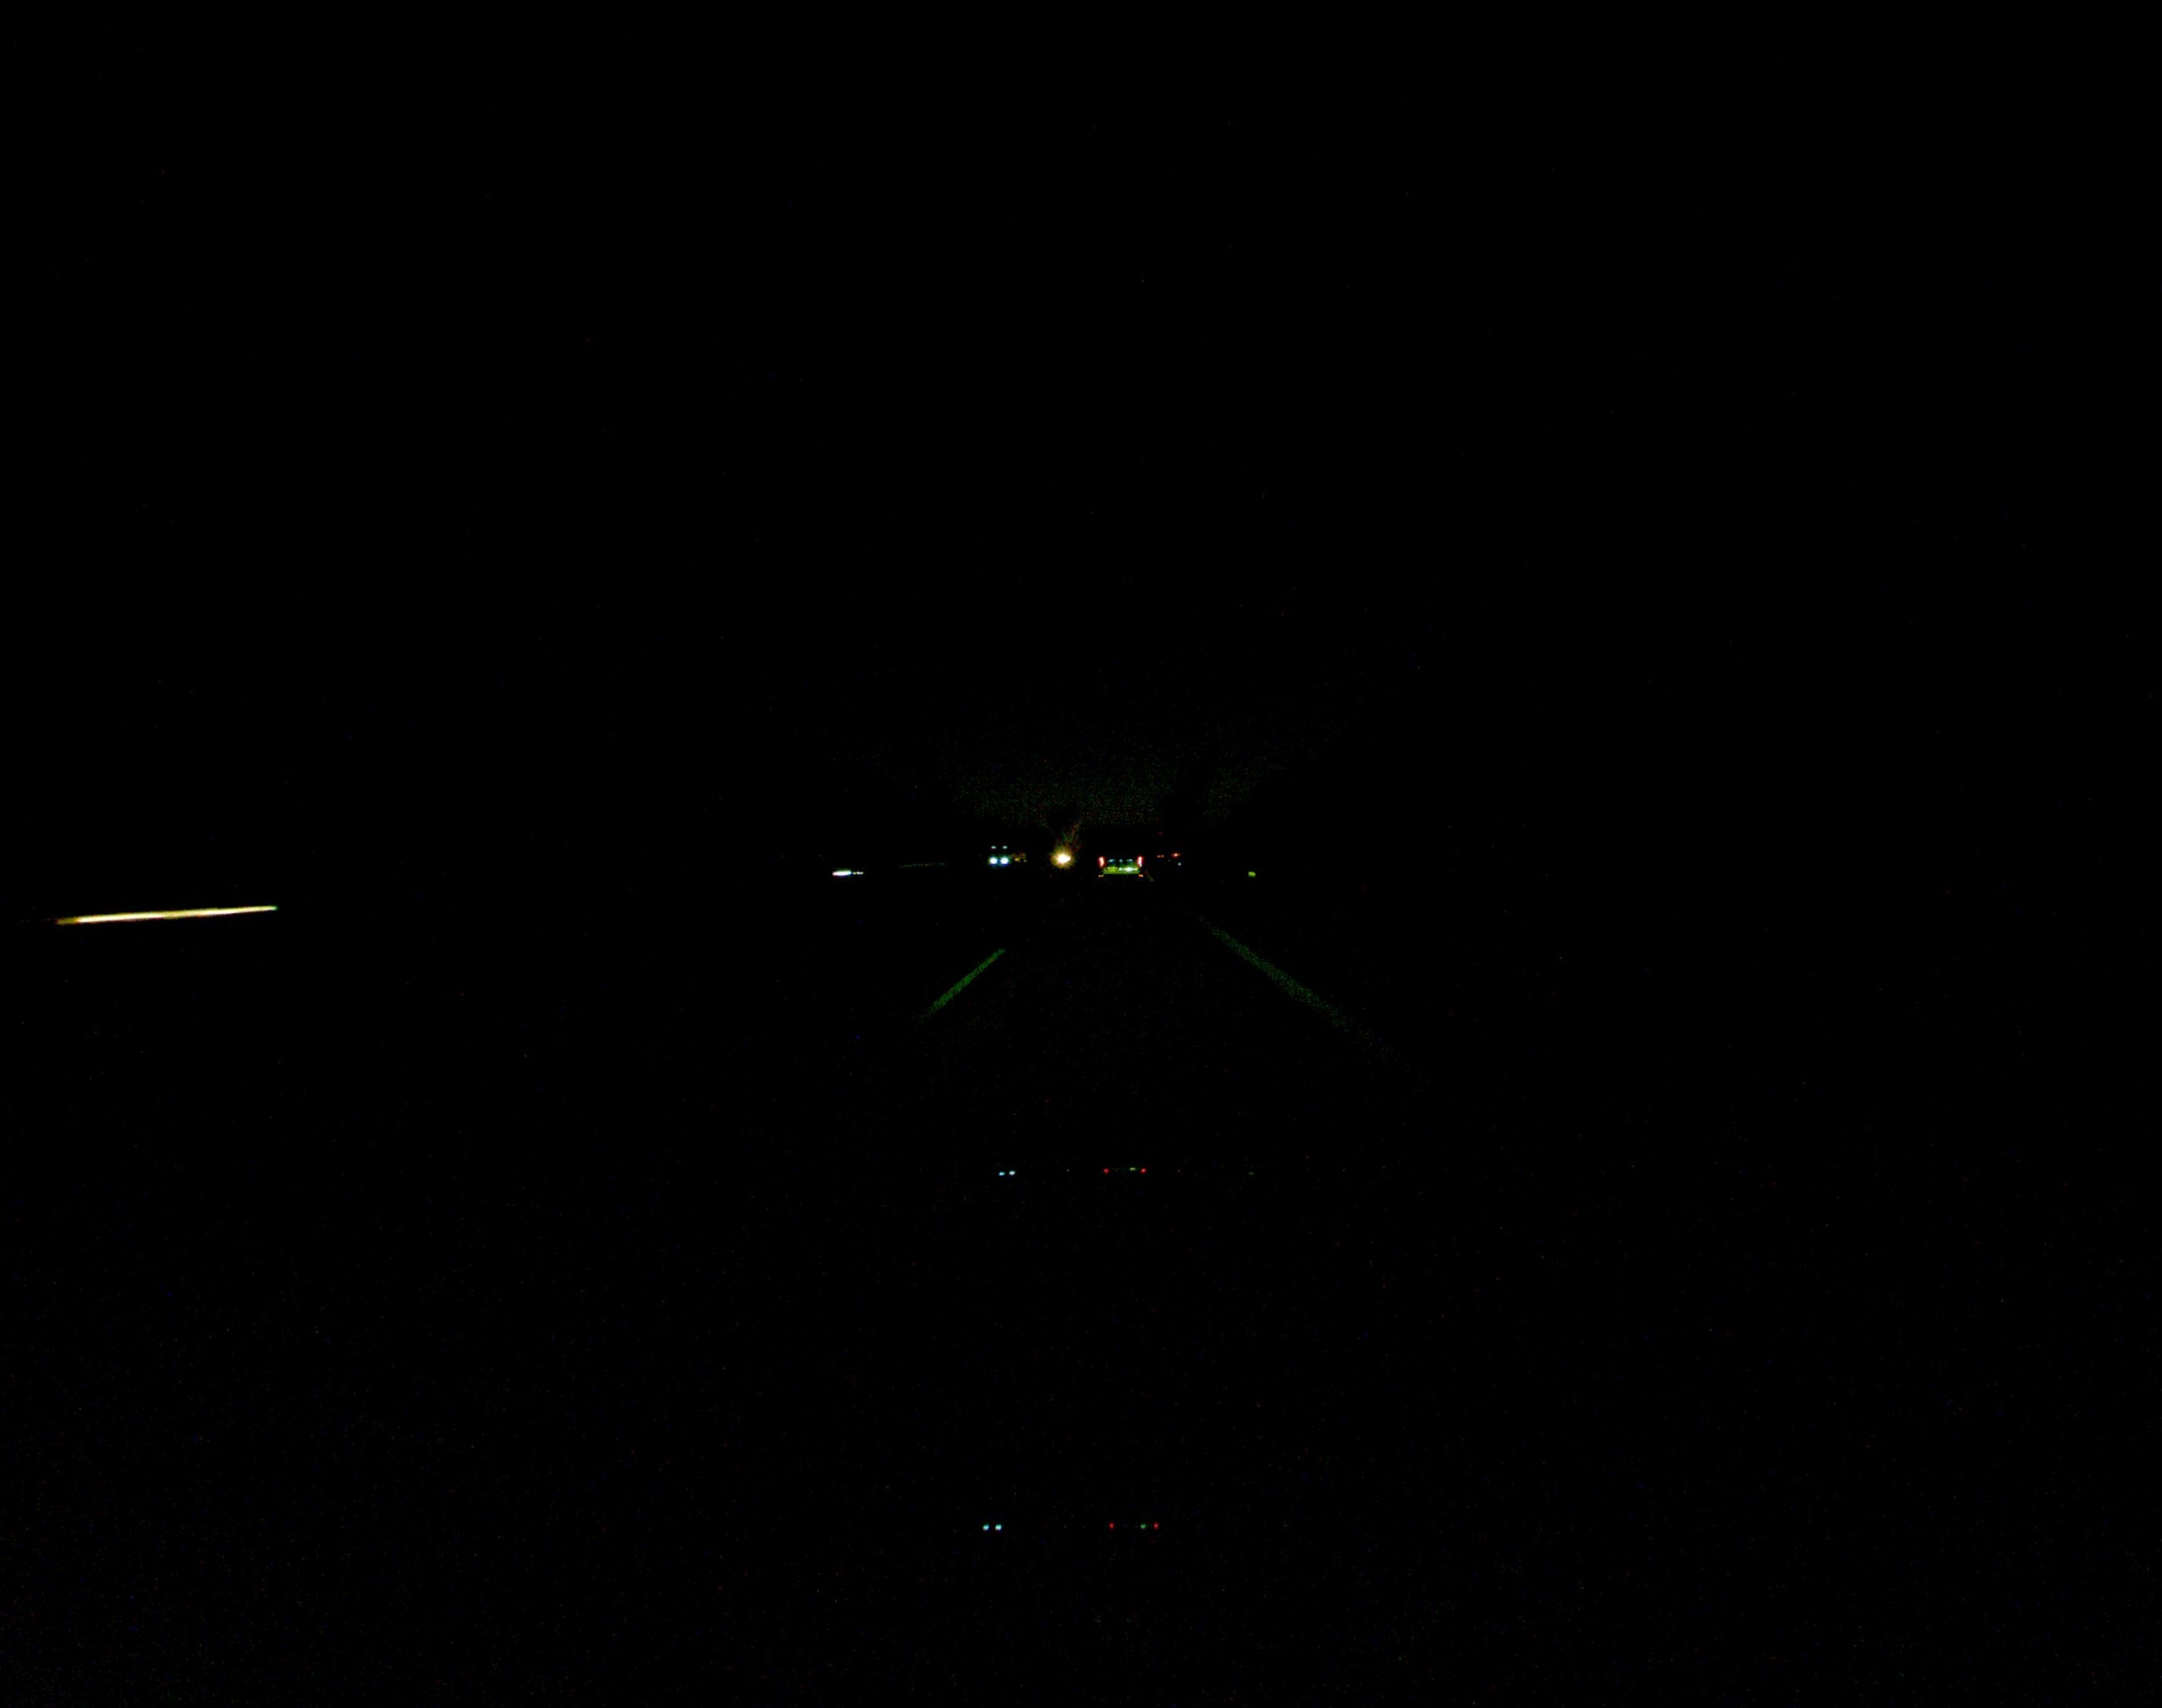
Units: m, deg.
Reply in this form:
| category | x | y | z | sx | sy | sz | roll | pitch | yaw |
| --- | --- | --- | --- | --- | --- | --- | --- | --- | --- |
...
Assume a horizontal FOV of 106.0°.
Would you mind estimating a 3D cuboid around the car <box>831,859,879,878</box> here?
| category | x | y | z | sx | sy | sz | roll | pitch | yaw |
| --- | --- | --- | --- | --- | --- | --- | --- | --- | --- |
| car | -16.359 | 1.030 | 59.270 | 1.985 | 1.332 | 4.403 | -1 | -1 | 4 |

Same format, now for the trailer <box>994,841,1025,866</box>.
| category | x | y | z | sx | sy | sz | roll | pitch | yaw |
| --- | --- | --- | --- | --- | --- | --- | --- | --- | --- |
| trailer | -12.844 | 0.092 | 147.342 | 2.676 | 4.218 | 17.274 | -1 | -1 | 5 |

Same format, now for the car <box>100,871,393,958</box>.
| category | x | y | z | sx | sy | sz | roll | pitch | yaw |
| --- | --- | --- | --- | --- | --- | --- | --- | --- | --- |
| car | -18.418 | 1.246 | 18.363 | 1.986 | 1.650 | 4.401 | -1 | -1 | 2 |

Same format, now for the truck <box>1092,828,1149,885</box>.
| category | x | y | z | sx | sy | sz | roll | pitch | yaw |
| --- | --- | --- | --- | --- | --- | --- | --- | --- | --- |
| truck | 2.122 | 0.157 | 42.372 | 2.618 | 2.624 | 8.693 | -1 | -1 | 4 |

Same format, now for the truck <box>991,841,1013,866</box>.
| category | x | y | z | sx | sy | sz | roll | pitch | yaw |
| --- | --- | --- | --- | --- | --- | --- | --- | --- | --- |
| truck | -13.511 | -0.035 | 139.644 | 2.701 | 4.199 | 5.427 | -1 | -1 | 5 |
